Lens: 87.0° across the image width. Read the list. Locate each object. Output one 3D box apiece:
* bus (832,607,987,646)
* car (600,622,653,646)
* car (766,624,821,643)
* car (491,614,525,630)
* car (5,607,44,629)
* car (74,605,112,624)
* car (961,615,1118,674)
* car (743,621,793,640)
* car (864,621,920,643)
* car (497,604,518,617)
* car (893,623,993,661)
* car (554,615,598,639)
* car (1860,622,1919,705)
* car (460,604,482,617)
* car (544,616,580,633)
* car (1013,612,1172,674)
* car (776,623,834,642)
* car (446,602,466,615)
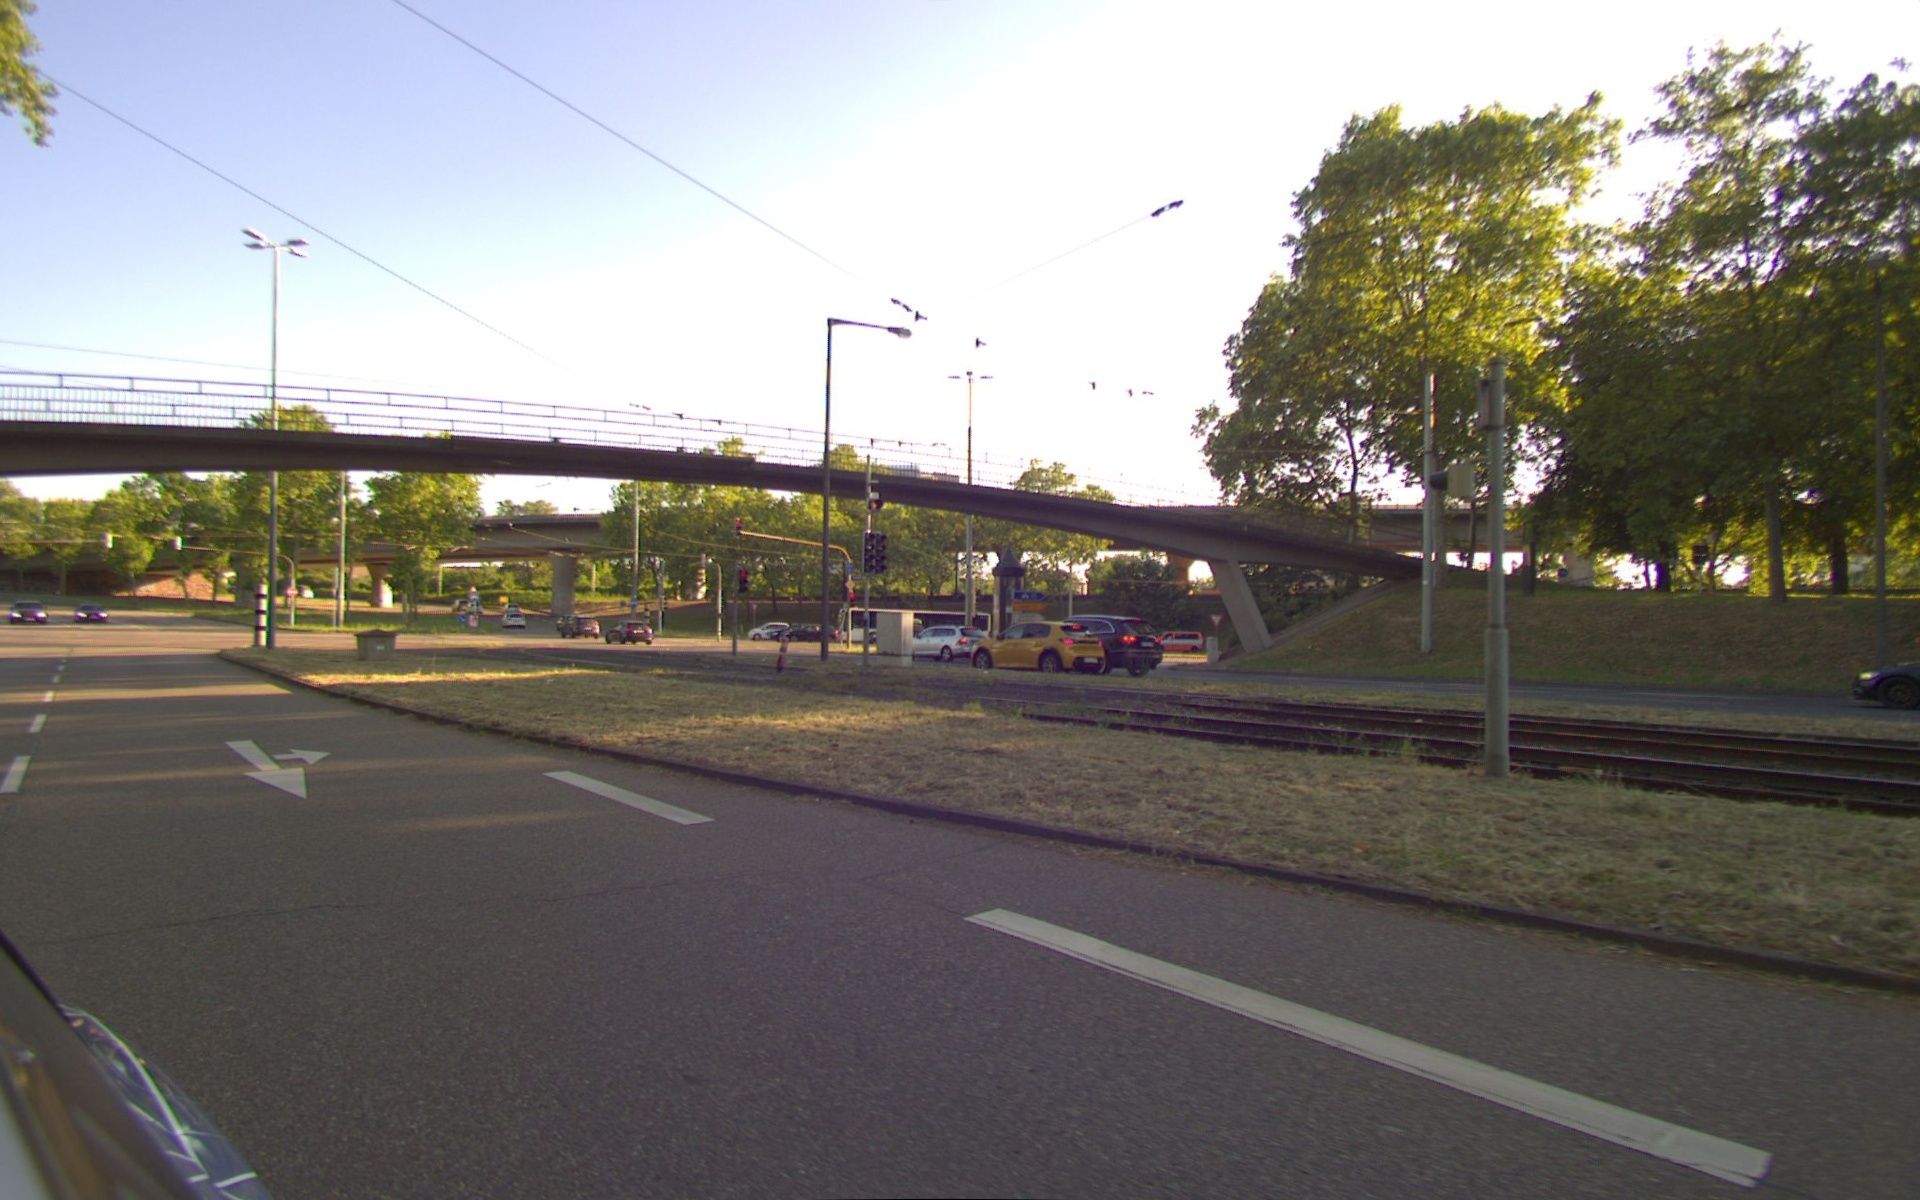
[{"bbox_3d":[-4.219,2.253,84.878,12.632,2.977,2.840,1,-1,-18],"label":"bus"},{"bbox_3d":[-19.872,1.981,60.172,1.664,1.320,4.318,1,-1,-37],"label":"car"},{"bbox_3d":[-12.859,2.584,78.025,3.930,1.364,1.615,2,-1,-21],"label":"car"},{"bbox_3d":[-42.357,2.026,94.858,1.979,1.454,4.872,1,-1,-35],"label":"car"},{"bbox_3d":[-67.990,1.314,73.526,1.970,1.497,4.002,1,-2,-45],"label":"car"},{"bbox_3d":[-68.346,1.170,79.769,4.002,1.497,1.971,-1,-2,45],"label":"car"},{"bbox_3d":[2.056,1.131,27.047,1.816,1.426,4.023,1,-1,-42],"label":"car"},{"bbox_3d":[-15.393,2.442,81.049,3.669,1.364,1.615,2,-1,-21],"label":"car"},{"bbox_3d":[-5.391,2.532,80.265,4.024,1.665,1.722,1,-1,-19],"label":"car"},{"bbox_3d":[-58.690,1.395,131.228,1.826,1.621,4.382,2,-1,-33],"label":"car"},{"bbox_3d":[-0.765,1.700,41.904,1.665,1.426,4.444,0,0,-41],"label":"car"},{"bbox_3d":[-27.090,1.883,71.294,1.767,1.663,4.366,1,-1,-37],"label":"car"},{"bbox_3d":[19.258,1.161,18.174,1.816,1.493,4.442,0,-1,-41],"label":"car"},{"bbox_3d":[-64.672,1.414,133.798,1.826,1.621,4.318,2,-1,-36],"label":"car"},{"bbox_3d":[-35.285,2.150,89.649,1.978,1.454,4.264,1,-1,-35],"label":"car"},{"bbox_3d":[3.793,1.189,29.589,1.817,1.667,4.439,0,-1,-44],"label":"car"},{"bbox_3d":[-11.553,2.419,75.453,4.024,1.364,1.722,1,-1,-19],"label":"car"},{"bbox_3d":[-70.782,1.186,142.110,1.826,1.881,4.156,2,-1,-35],"label":"car"}]
